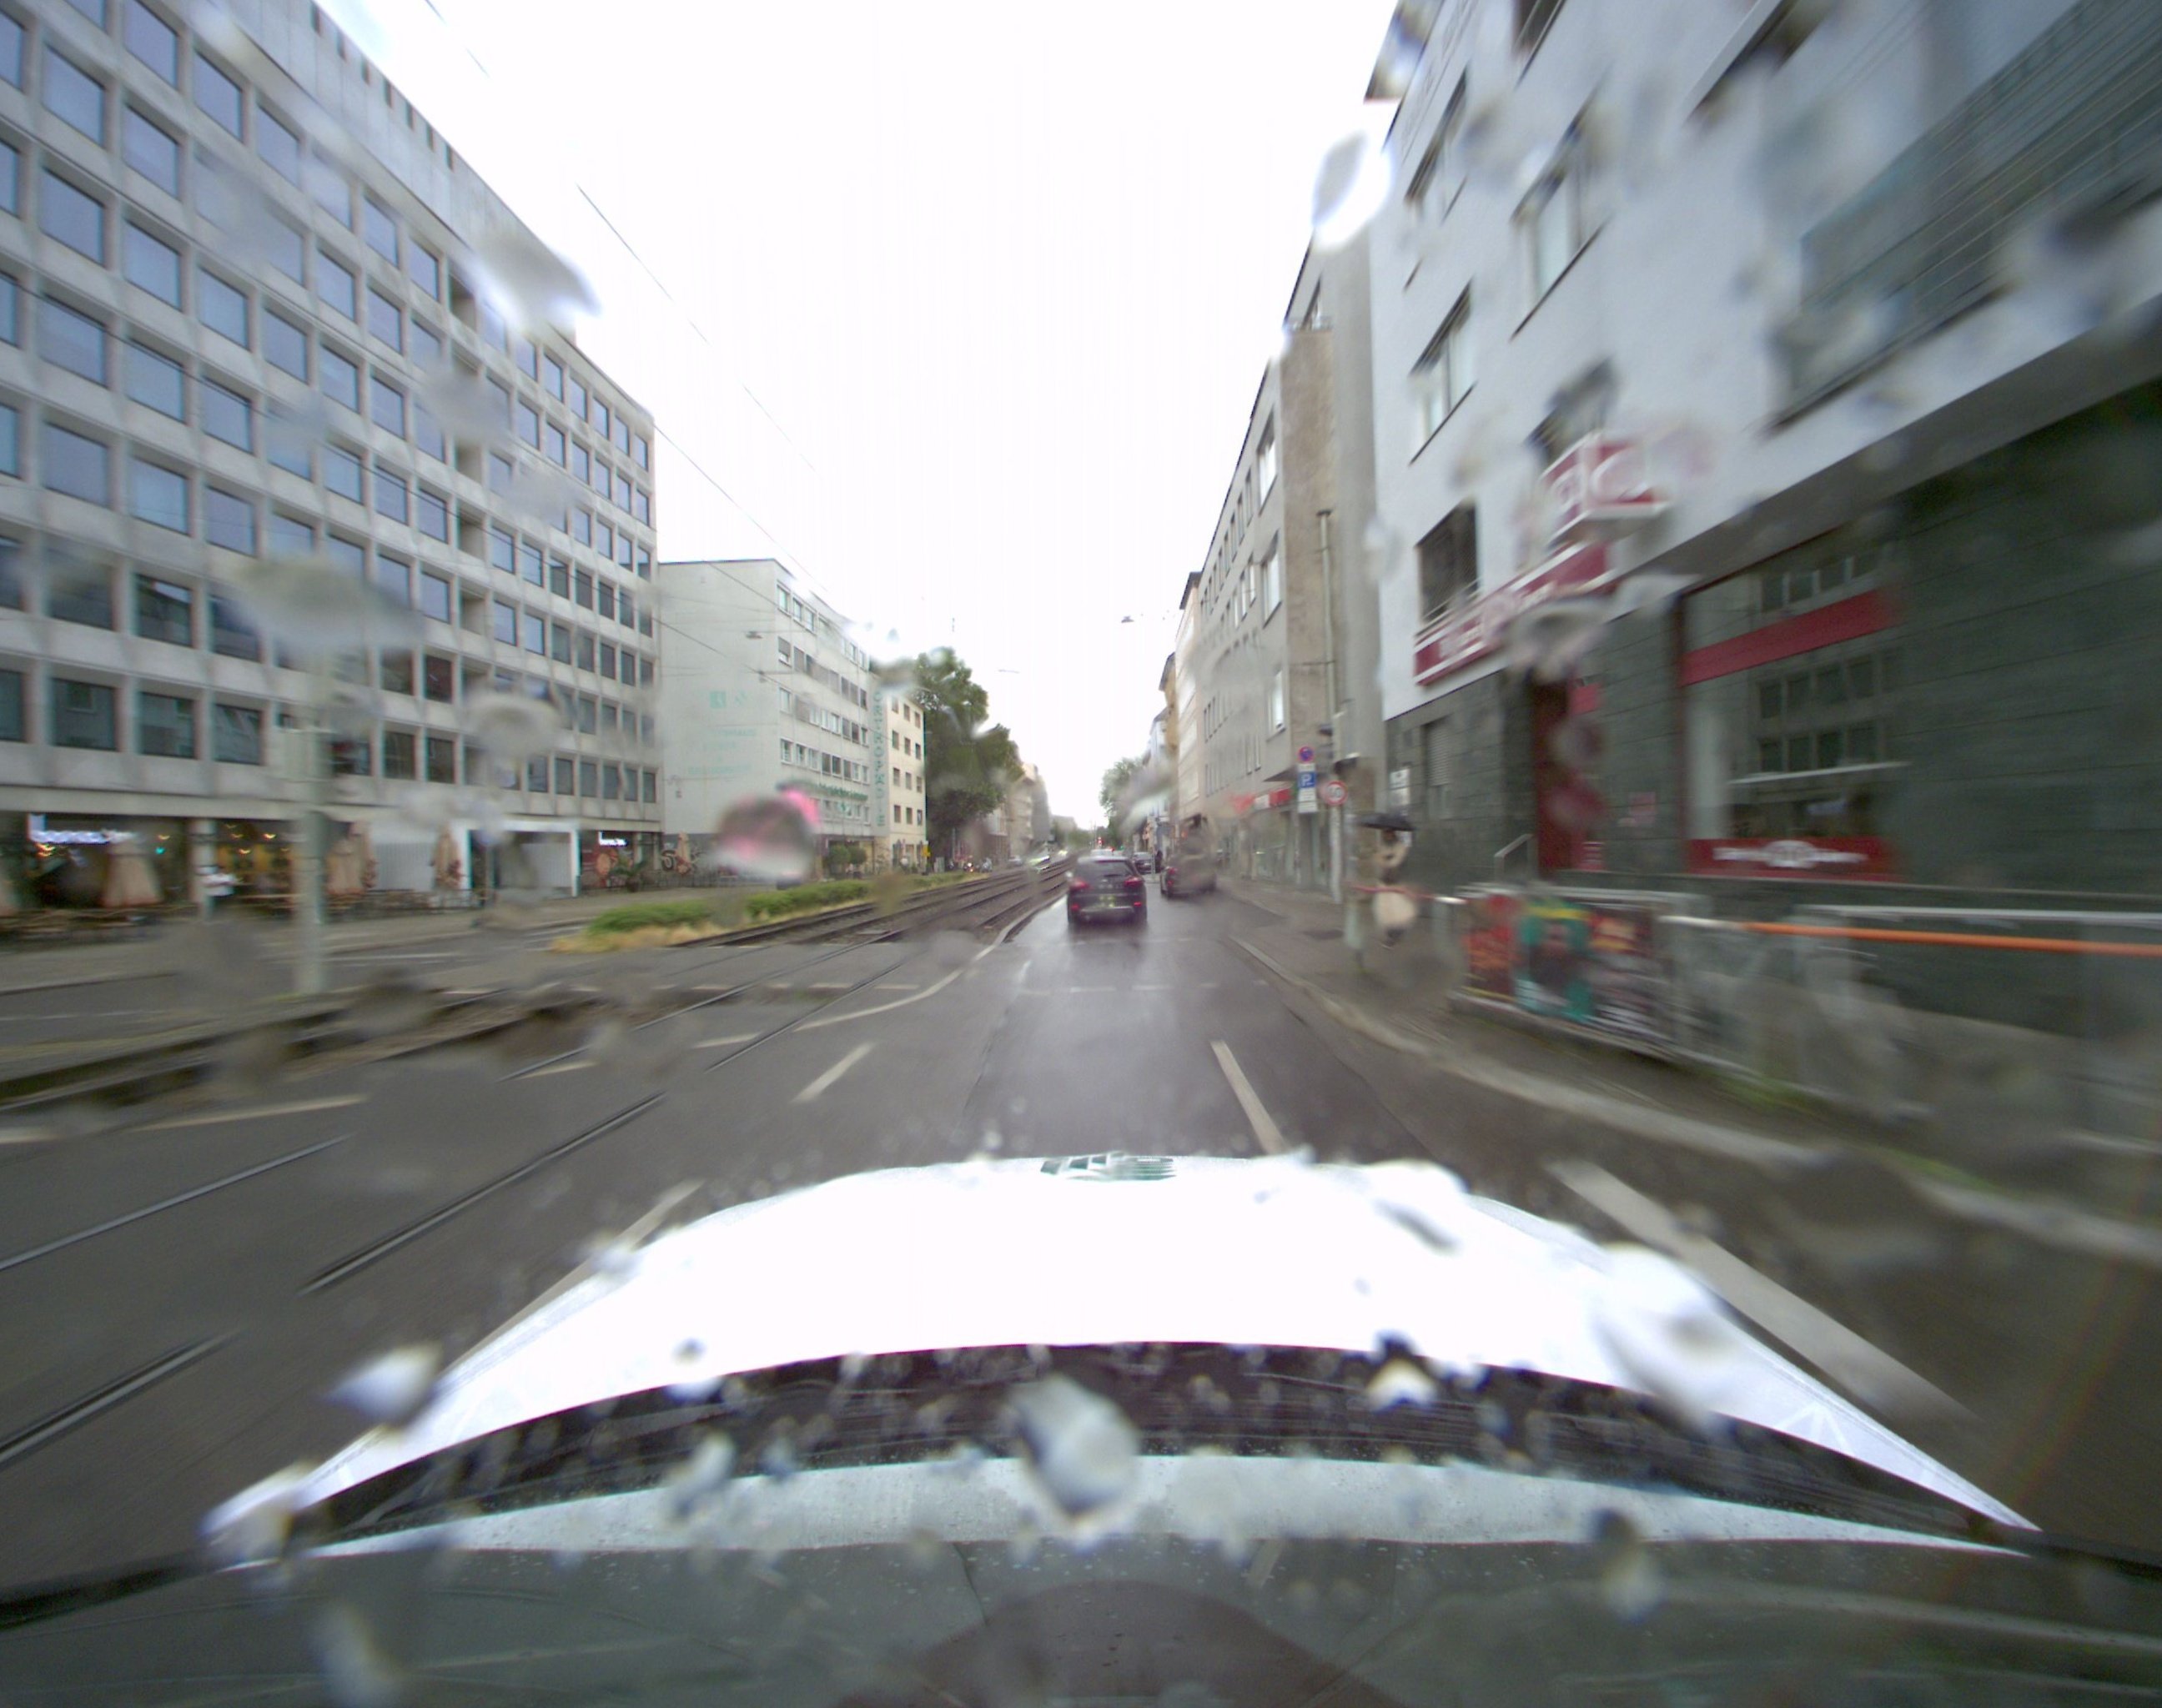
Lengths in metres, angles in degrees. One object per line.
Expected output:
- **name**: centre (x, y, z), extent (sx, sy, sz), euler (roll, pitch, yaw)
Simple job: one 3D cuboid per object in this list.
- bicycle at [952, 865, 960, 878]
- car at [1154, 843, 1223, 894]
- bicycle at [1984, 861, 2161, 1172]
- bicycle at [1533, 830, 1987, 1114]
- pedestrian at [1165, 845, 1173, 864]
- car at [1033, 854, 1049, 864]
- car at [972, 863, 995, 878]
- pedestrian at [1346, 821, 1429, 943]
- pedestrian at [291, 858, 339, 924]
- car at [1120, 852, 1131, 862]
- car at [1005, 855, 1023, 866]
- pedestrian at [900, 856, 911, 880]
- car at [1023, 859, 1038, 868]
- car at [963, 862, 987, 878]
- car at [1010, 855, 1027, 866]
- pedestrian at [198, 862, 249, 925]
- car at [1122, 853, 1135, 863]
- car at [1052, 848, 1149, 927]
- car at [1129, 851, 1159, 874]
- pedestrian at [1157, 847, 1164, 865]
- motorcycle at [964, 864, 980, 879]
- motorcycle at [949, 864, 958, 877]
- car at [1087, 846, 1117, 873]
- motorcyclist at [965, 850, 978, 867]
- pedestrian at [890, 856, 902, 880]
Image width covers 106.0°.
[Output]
- **bicycle**: centre (-12.292, 1.699, 80.210), extent (0.590, 1.227, 2.399), euler (-1, -1, -5)
- **car**: centre (3.734, 0.528, 28.967), extent (1.986, 1.594, 4.273), euler (-2, -1, 2)
- **bicycle**: centre (4.579, 0.595, 2.767), extent (0.580, 1.157, 1.935), euler (0, -1, -34)
- **bicycle**: centre (3.627, 0.543, 4.621), extent (0.499, 1.259, 1.941), euler (-1, -1, -22)
- **pedestrian**: centre (9.517, 0.083, 88.470), extent (0.733, 2.013, 0.821), euler (-2, 0, 1)
- **car**: centre (-5.819, 0.729, 118.612), extent (1.986, 1.519, 4.446), euler (-1, 0, 2)
- **car**: centre (-10.499, 1.785, 87.951), extent (1.715, 1.570, 4.221), euler (-1, 0, 2)
- **pedestrian**: centre (4.152, 0.370, 11.074), extent (0.661, 1.582, 0.774), euler (-2, -1, -20)
- **pedestrian**: centre (-21.606, 1.020, 22.986), extent (0.563, 1.822, 0.844), euler (-1, -1, -2)
- **car**: centre (6.961, 0.495, 127.857), extent (1.637, 1.516, 4.040), euler (-2, 0, 1)
- **car**: centre (-9.504, 0.953, 116.307), extent (1.986, 1.519, 4.437), euler (-1, 0, 2)
- **pedestrian**: centre (-14.041, 1.100, 65.041), extent (0.676, 1.896, 0.743), euler (-1, -1, 2)
- **car**: centre (-8.459, 1.597, 137.406), extent (1.986, 1.519, 4.678), euler (-1, 0, 2)
- **car**: centre (-10.761, 1.606, 83.010), extent (1.737, 1.469, 4.221), euler (-3, -1, 2)
- **car**: centre (-9.230, 0.970, 120.870), extent (1.986, 1.519, 4.211), euler (-1, 0, 2)
- **pedestrian**: centre (-24.523, 1.107, 23.311), extent (0.563, 1.748, 0.844), euler (-1, -1, -2)
- **car**: centre (7.222, 0.559, 123.332), extent (1.732, 1.489, 4.001), euler (-2, 0, 1)
- **car**: centre (0.515, 0.748, 19.337), extent (1.986, 1.594, 4.273), euler (-2, -1, 2)
- **car**: centre (4.604, 0.665, 60.317), extent (1.985, 1.594, 4.574), euler (-2, -1, 2)
- **pedestrian**: centre (8.607, 0.218, 88.373), extent (0.659, 1.852, 0.821), euler (-2, 0, 1)
- **motorcycle**: centre (-8.232, 1.311, 61.549), extent (0.739, 1.060, 1.933), euler (-1, -1, 4)
- **motorcycle**: centre (-14.669, 1.907, 93.830), extent (0.637, 1.379, 2.119), euler (-1, -1, 0)
- **car**: centre (1.582, 0.398, 59.410), extent (1.986, 1.816, 4.273), euler (-2, -1, 2)
- **motorcyclist**: centre (-8.251, 0.355, 61.494), extent (0.738, 1.217, 0.971), euler (-1, -1, 4)
- **pedestrian**: centre (-14.825, 1.147, 65.258), extent (0.724, 1.896, 0.983), euler (-1, -1, 2)
